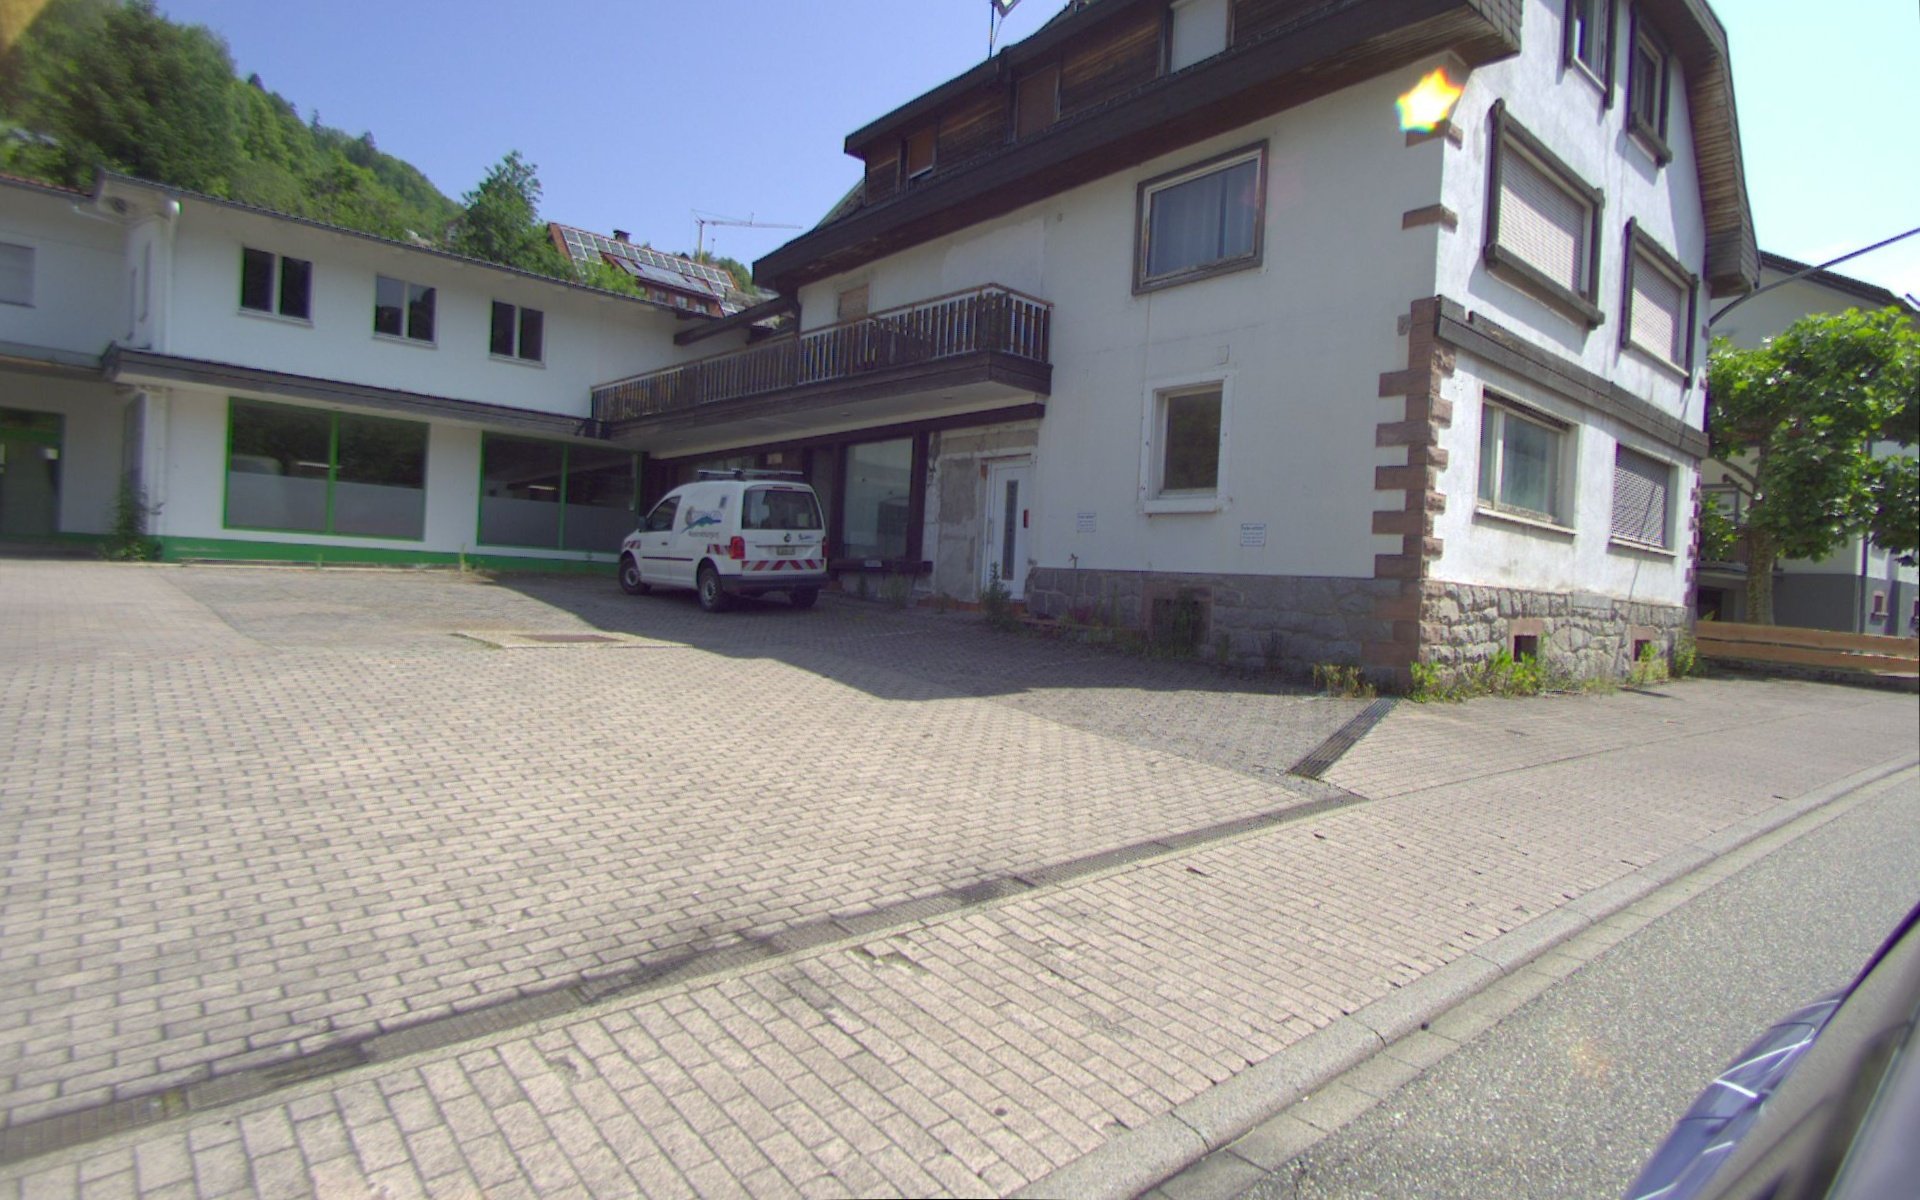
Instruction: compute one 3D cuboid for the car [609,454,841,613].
[{"bbox_3d":[-3.687,-1.106,15.408,1.609,2.006,4.015,-2,8,-43],"label":"car"}]
